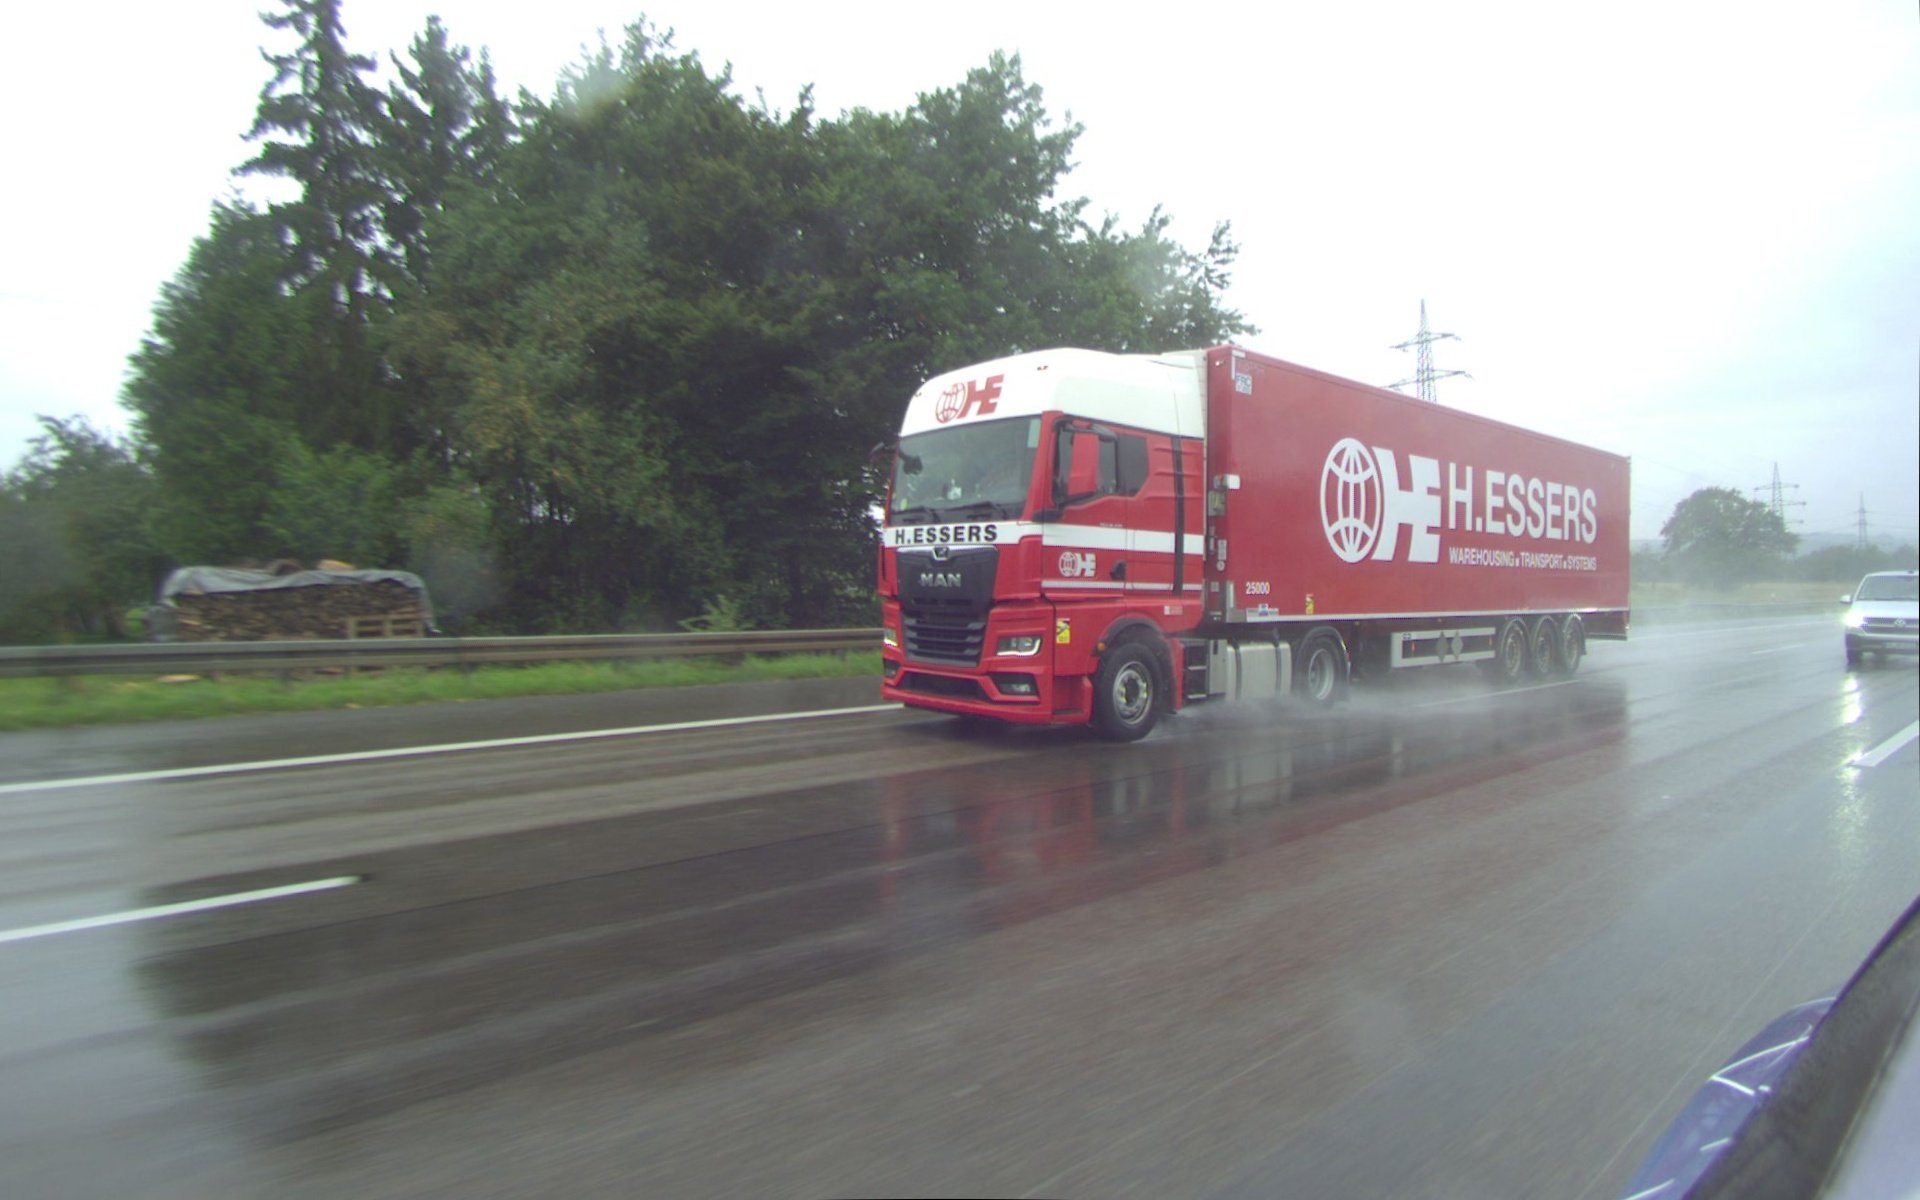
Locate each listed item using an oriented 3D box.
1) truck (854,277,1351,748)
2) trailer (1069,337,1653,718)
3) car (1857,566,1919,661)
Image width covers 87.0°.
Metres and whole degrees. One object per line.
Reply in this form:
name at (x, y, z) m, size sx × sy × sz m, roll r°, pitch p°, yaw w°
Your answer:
truck at (1.759, -0.773, 11.333) m, size 5.336 × 4.005 × 2.626 m, roll 0°, pitch 0°, yaw -40°
trailer at (7.301, -0.829, 16.004) m, size 13.389 × 4.005 × 2.625 m, roll -1°, pitch 0°, yaw -40°
car at (21.218, 0.263, 21.934) m, size 4.920 × 1.908 × 1.890 m, roll 0°, pitch -3°, yaw -40°
